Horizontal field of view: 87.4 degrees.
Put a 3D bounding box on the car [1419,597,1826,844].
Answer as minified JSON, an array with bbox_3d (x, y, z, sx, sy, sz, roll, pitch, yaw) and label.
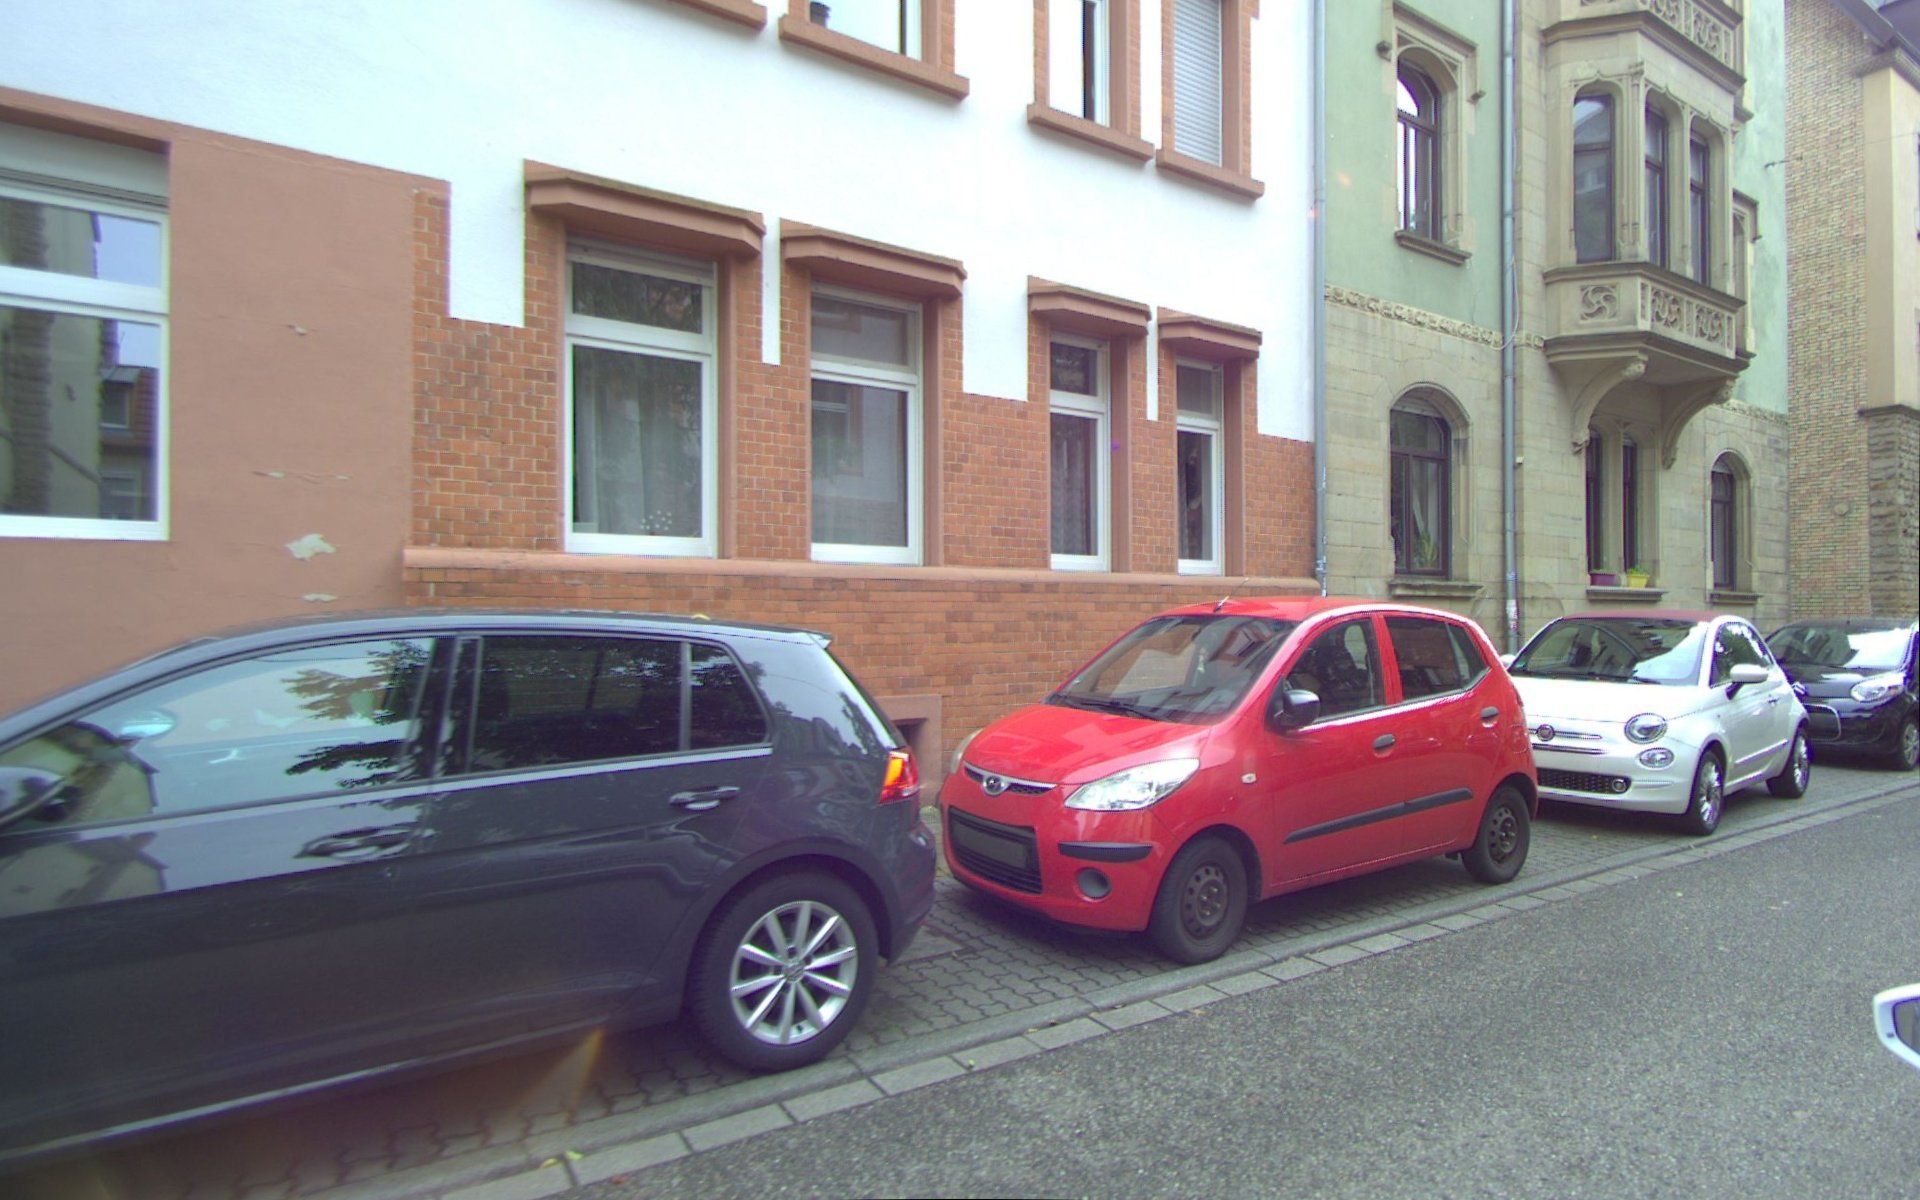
[{"bbox_3d":[5.350,0.768,7.980,3.521,1.531,1.654,0,-1,-37],"label":"car"}]

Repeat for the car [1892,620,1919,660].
[{"bbox_3d":[37.949,1.488,38.000,1.626,1.479,3.561,-2,-1,-23],"label":"car"}]

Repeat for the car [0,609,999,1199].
[{"bbox_3d":[-1.875,0.764,3.095,3.875,1.436,1.457,0,1,-33],"label":"car"}]

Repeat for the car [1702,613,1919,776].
[{"bbox_3d":[9.603,0.886,10.800,3.418,1.453,1.508,0,1,-33],"label":"car"}]

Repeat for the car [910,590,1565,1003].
[{"bbox_3d":[1.610,0.736,5.372,3.531,1.551,1.456,0,1,-34],"label":"car"}]

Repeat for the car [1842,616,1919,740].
[{"bbox_3d":[13.184,0.964,13.145,3.770,1.453,1.579,0,1,-34],"label":"car"}]
